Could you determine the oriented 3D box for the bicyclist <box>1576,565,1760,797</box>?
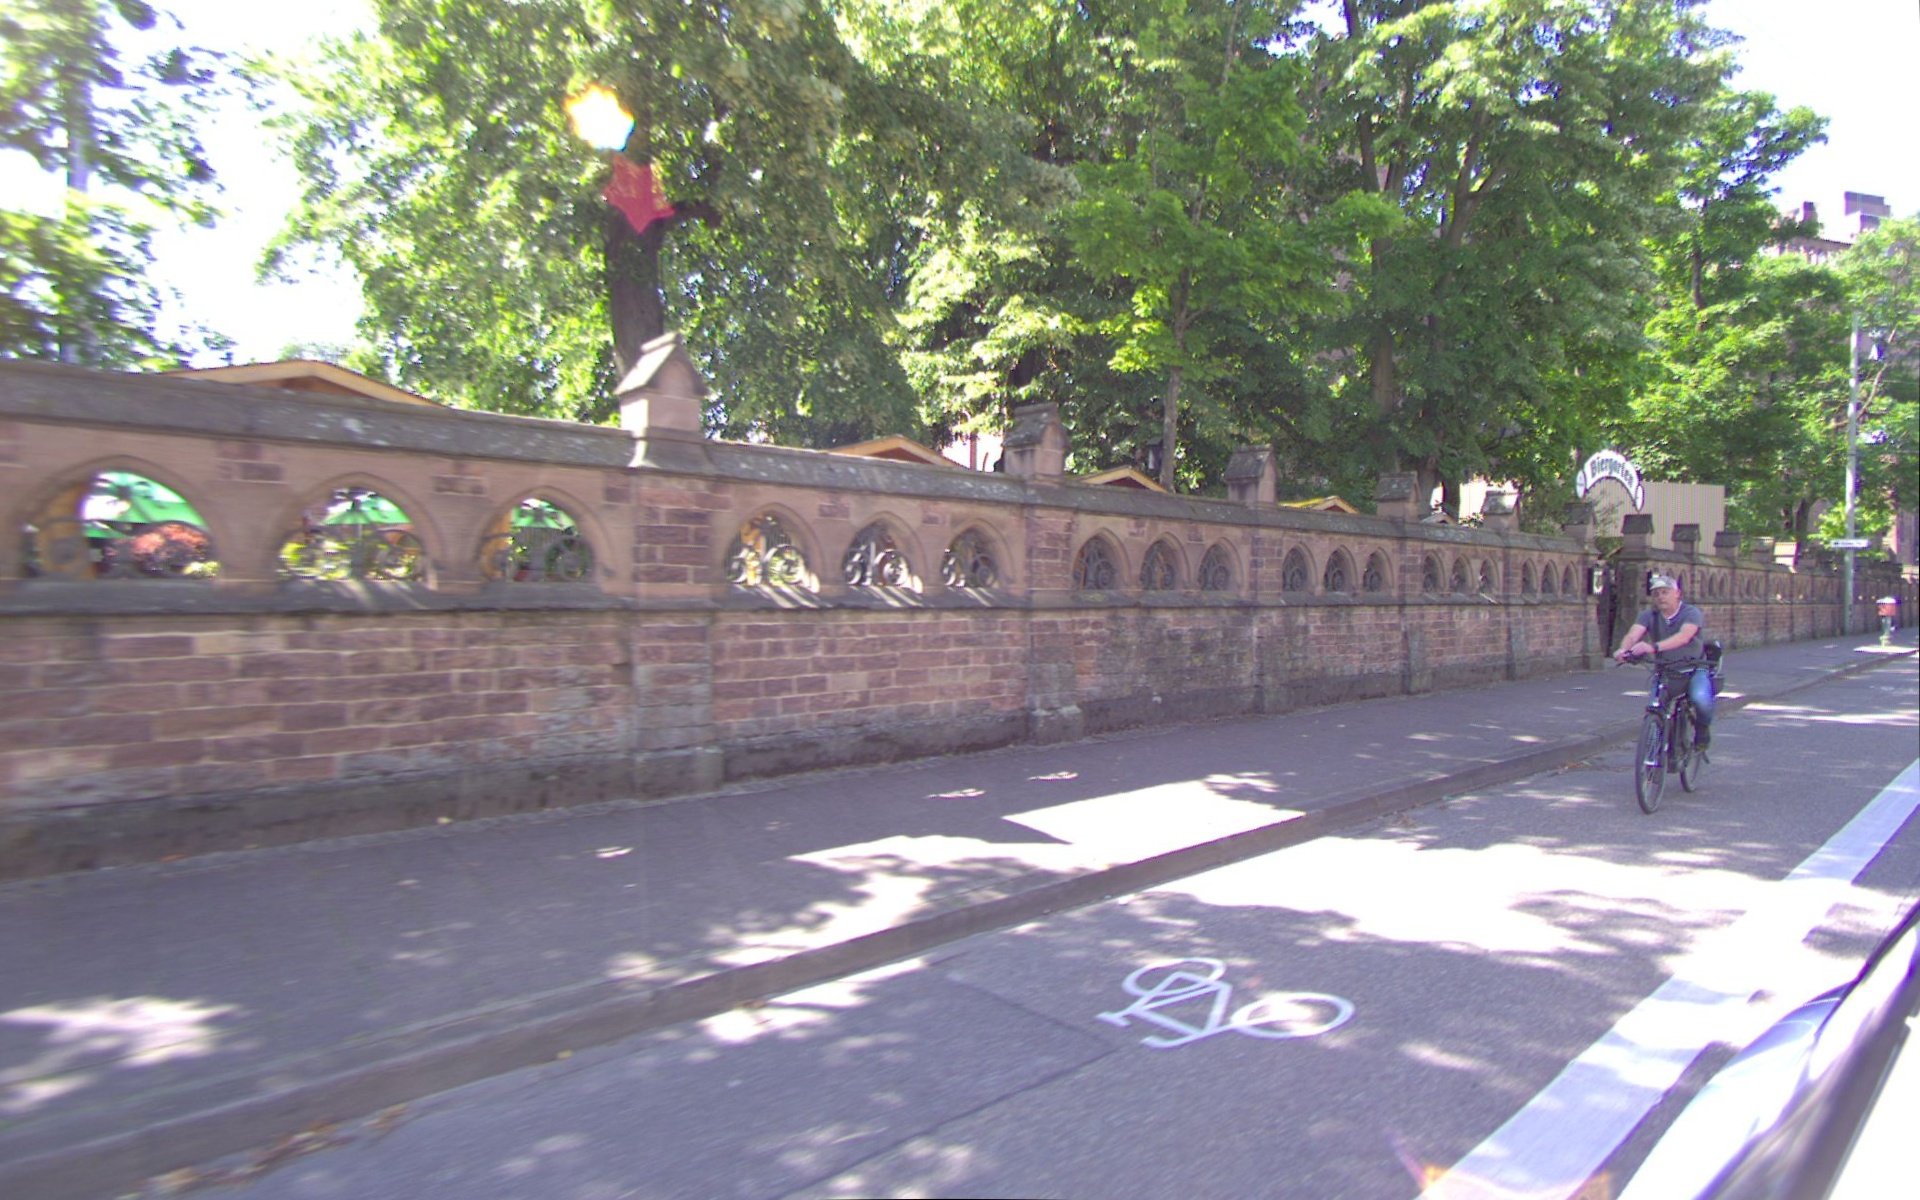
[{"bbox_3d":[5.393,0.573,7.712,0.948,1.616,0.905,0,-2,-41],"label":"bicyclist"}]

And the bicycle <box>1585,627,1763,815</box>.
[{"bbox_3d":[5.461,0.833,7.683,2.086,1.212,0.610,0,-2,-42],"label":"bicycle"}]
